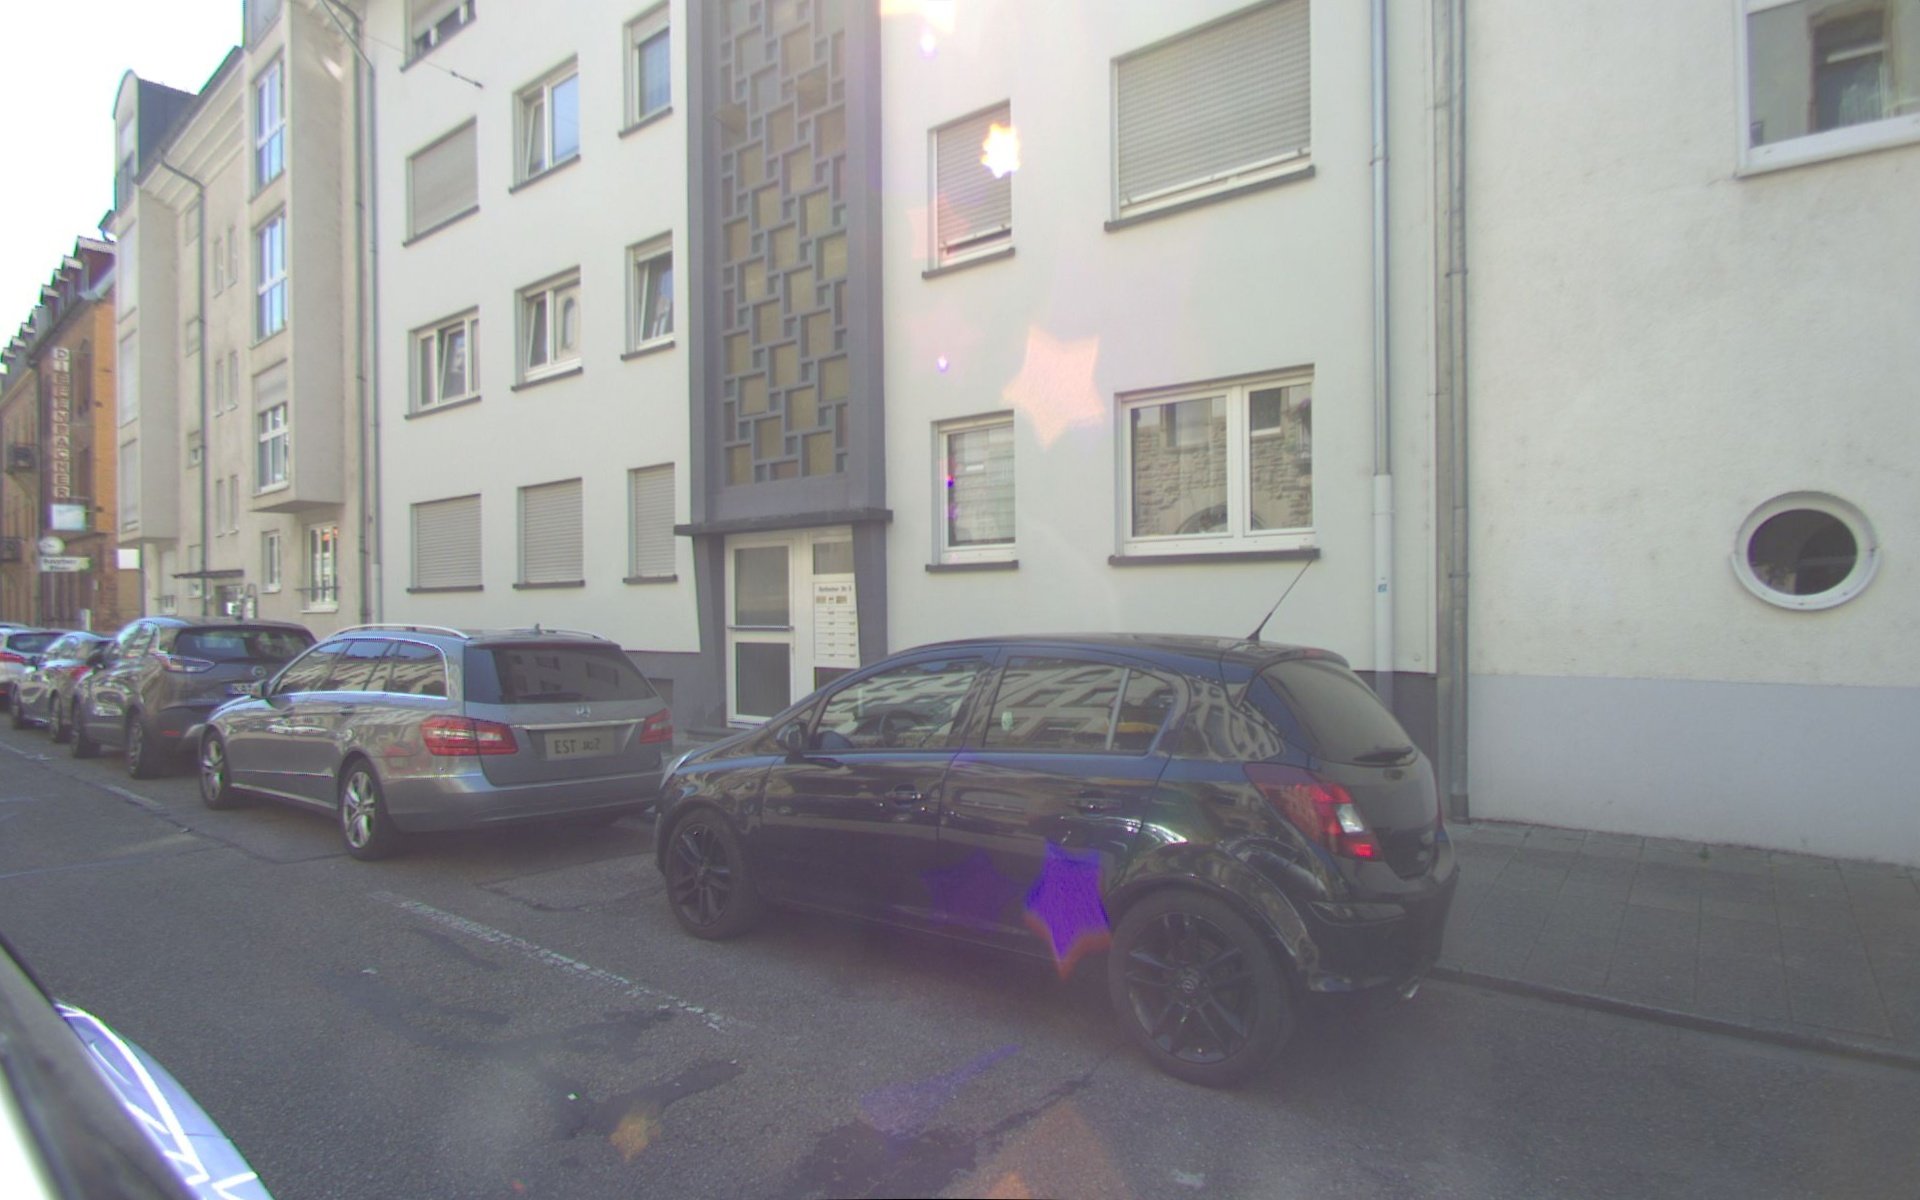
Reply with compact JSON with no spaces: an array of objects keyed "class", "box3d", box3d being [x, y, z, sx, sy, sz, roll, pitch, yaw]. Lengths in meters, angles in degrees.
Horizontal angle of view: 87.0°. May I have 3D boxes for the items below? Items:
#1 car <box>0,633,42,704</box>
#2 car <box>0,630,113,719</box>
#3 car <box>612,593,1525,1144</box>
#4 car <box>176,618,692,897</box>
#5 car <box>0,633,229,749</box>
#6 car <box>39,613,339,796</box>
[{"class":"car","box3d":[-22.971,1.536,23.477,3.845,1.561,1.614,-1,-5,35]},{"class":"car","box3d":[-17.602,1.321,18.966,4.342,1.506,1.714,-1,-4,38]},{"class":"car","box3d":[0.238,0.792,4.601,3.888,1.503,1.552,-1,-3,38]},{"class":"car","box3d":[-4.176,0.932,7.666,4.664,1.530,1.640,-1,-3,38]},{"class":"car","box3d":[-12.273,1.200,14.485,4.342,1.404,1.748,-1,-3,38]},{"class":"car","box3d":[-8.488,1.005,11.037,3.971,1.657,1.588,-1,-3,38]}]
